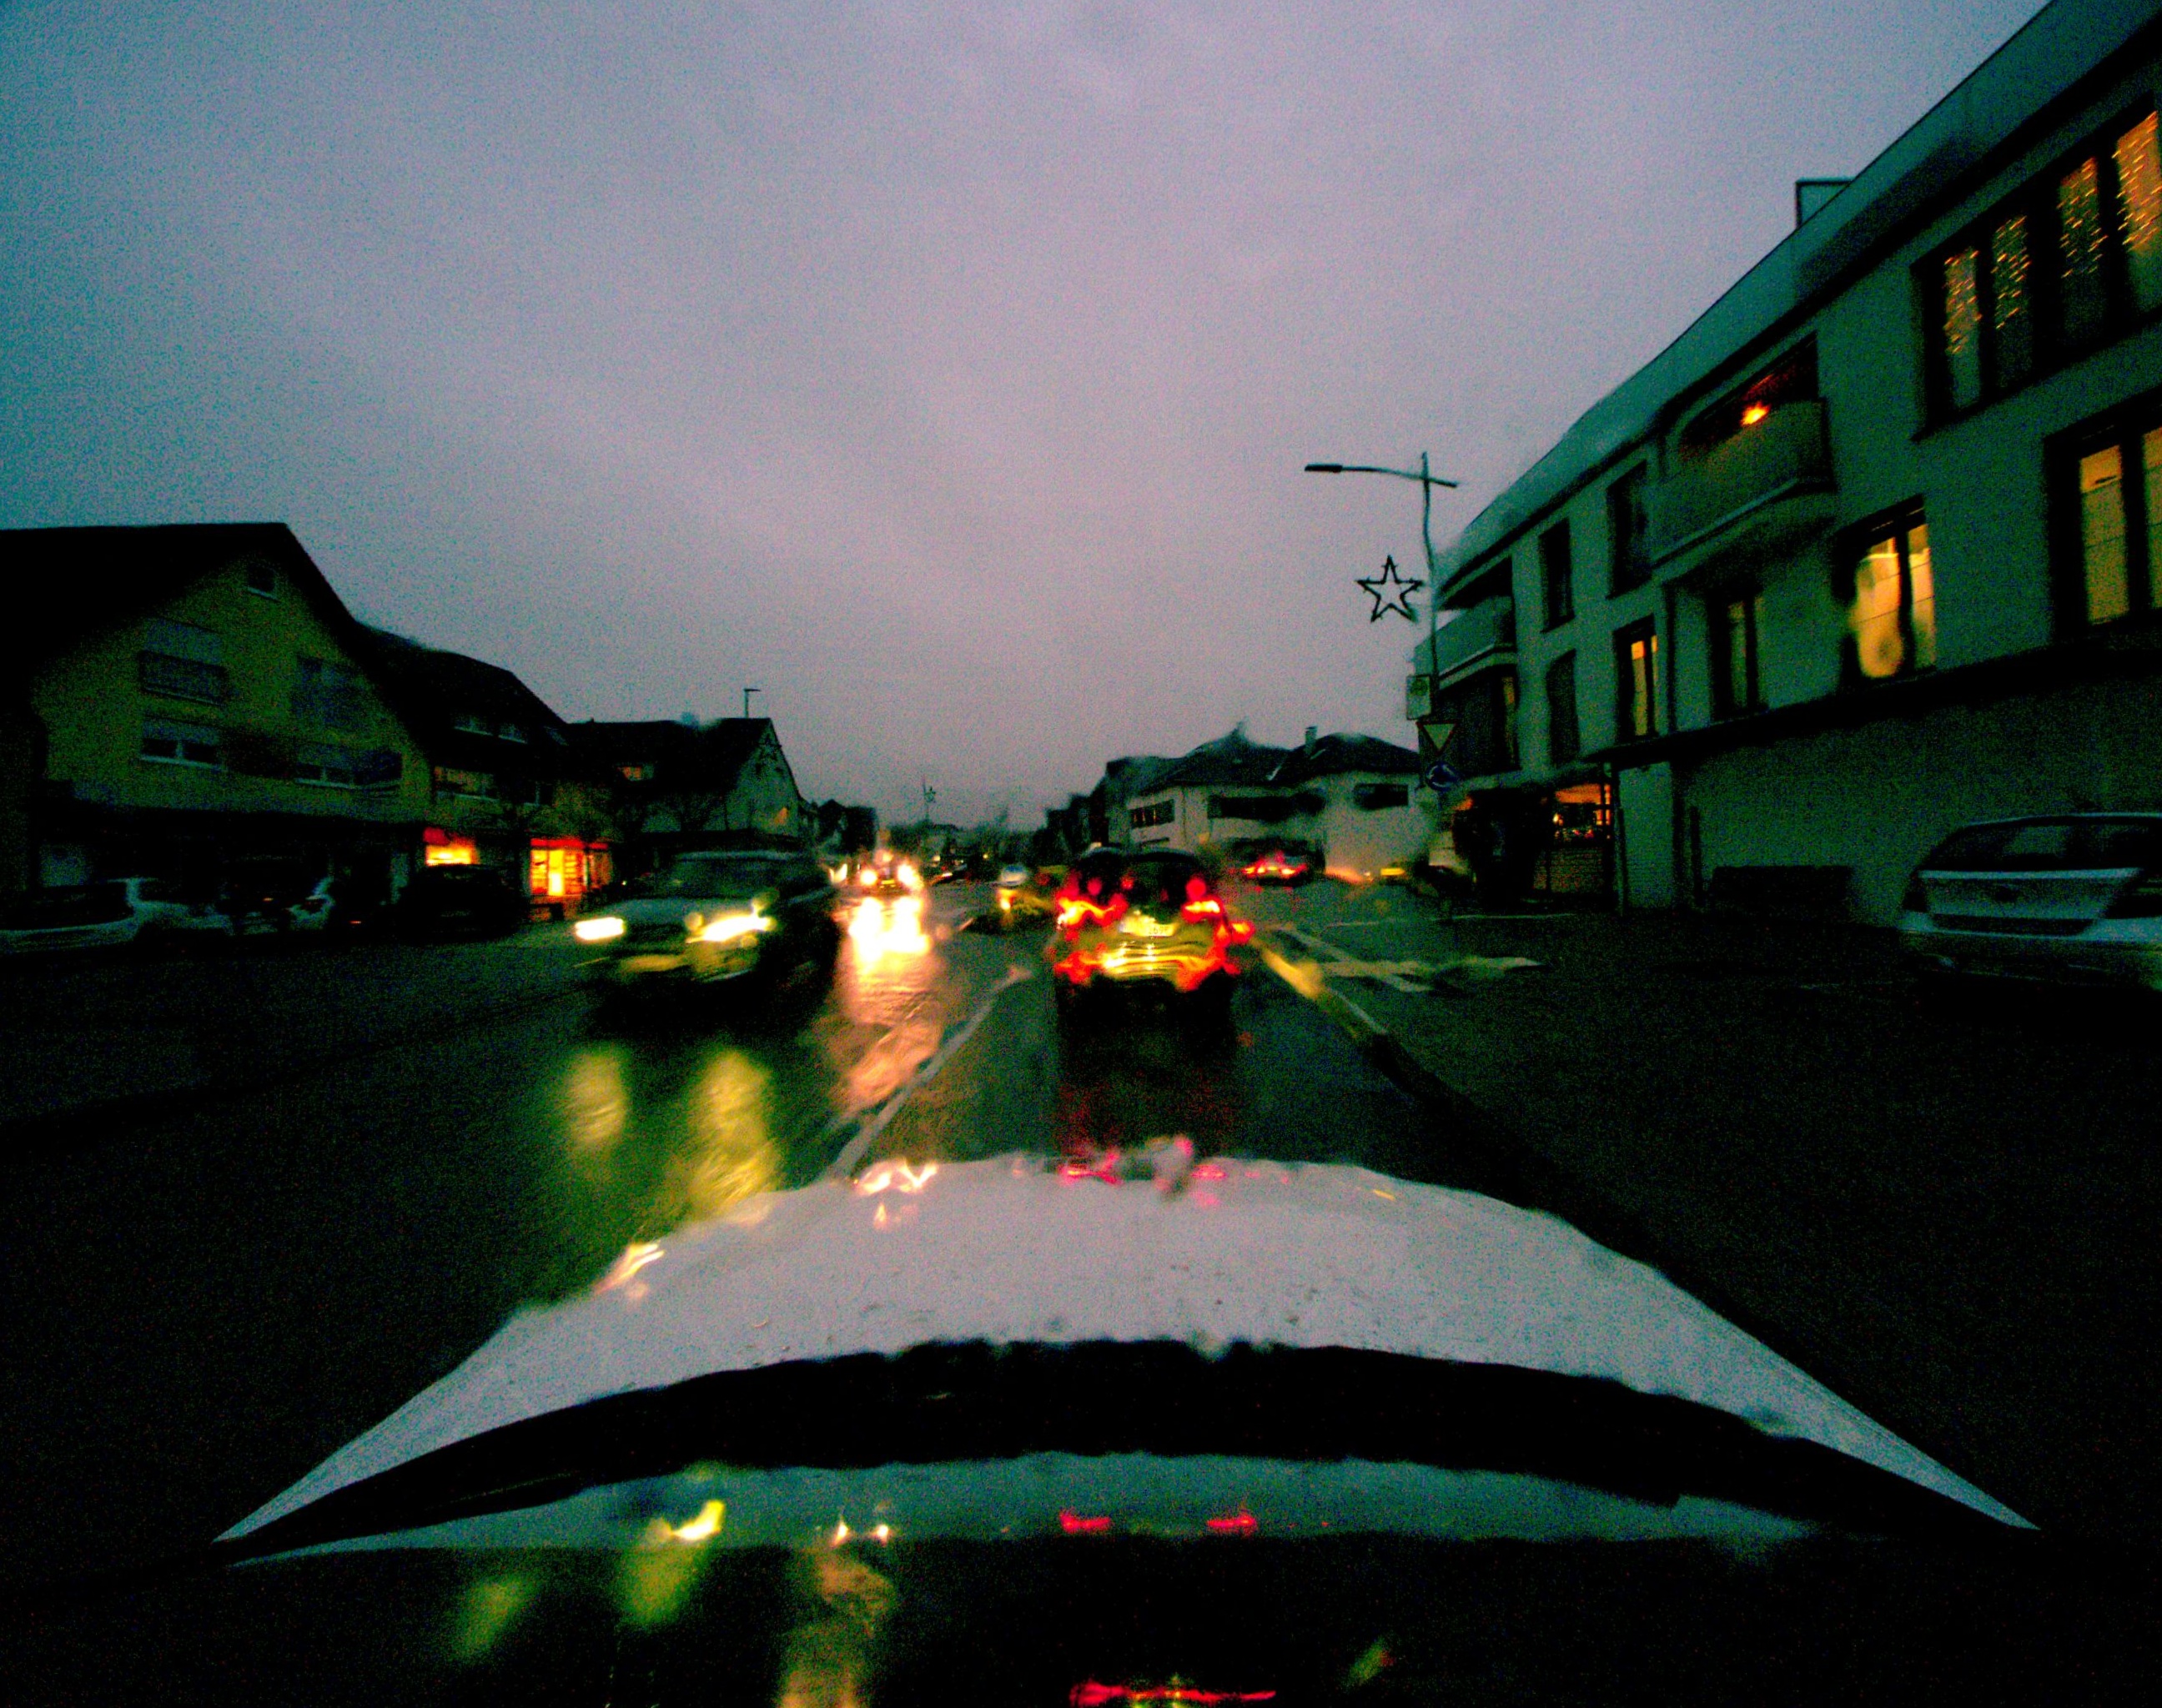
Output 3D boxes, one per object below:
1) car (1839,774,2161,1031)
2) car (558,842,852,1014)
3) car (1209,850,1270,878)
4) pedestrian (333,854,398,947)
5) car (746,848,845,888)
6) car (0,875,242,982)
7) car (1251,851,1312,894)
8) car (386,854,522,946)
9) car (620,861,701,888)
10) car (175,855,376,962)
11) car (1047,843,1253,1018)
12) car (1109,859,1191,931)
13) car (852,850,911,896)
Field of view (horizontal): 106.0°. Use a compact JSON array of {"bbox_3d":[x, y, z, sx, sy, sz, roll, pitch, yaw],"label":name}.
[{"bbox_3d":[8.156,0.182,5.854,3.984,1.503,1.809,-3,-1,-8],"label":"car"},{"bbox_3d":[-4.137,0.698,9.748,1.774,1.621,3.954,0,0,-2],"label":"car"},{"bbox_3d":[8.853,0.554,45.726,1.650,1.465,3.975,0,-1,-18],"label":"car"},{"bbox_3d":[-13.878,0.882,15.824,0.846,1.711,0.716,-3,0,-38],"label":"pedestrian"},{"bbox_3d":[-15.221,0.756,43.429,4.842,2.014,2.010,-1,-1,21],"label":"car"},{"bbox_3d":[-18.042,1.274,15.413,1.769,1.631,3.964,-3,1,-28],"label":"car"},{"bbox_3d":[9.018,0.805,36.462,1.805,1.628,4.024,-3,1,26],"label":"car"},{"bbox_3d":[-12.698,0.870,16.677,1.923,1.531,4.134,-3,0,-36],"label":"car"},{"bbox_3d":[-23.682,1.194,45.905,3.801,1.422,1.721,-2,-3,13],"label":"car"},{"bbox_3d":[-15.177,0.938,15.609,1.847,1.670,3.857,-3,1,-32],"label":"car"},{"bbox_3d":[0.671,0.716,9.586,1.909,1.615,3.950,0,0,1],"label":"car"},{"bbox_3d":[1.653,0.911,19.902,1.770,1.539,3.936,-1,0,4],"label":"car"},{"bbox_3d":[-8.446,0.762,34.287,1.727,1.813,4.103,0,-1,-24],"label":"car"}]
